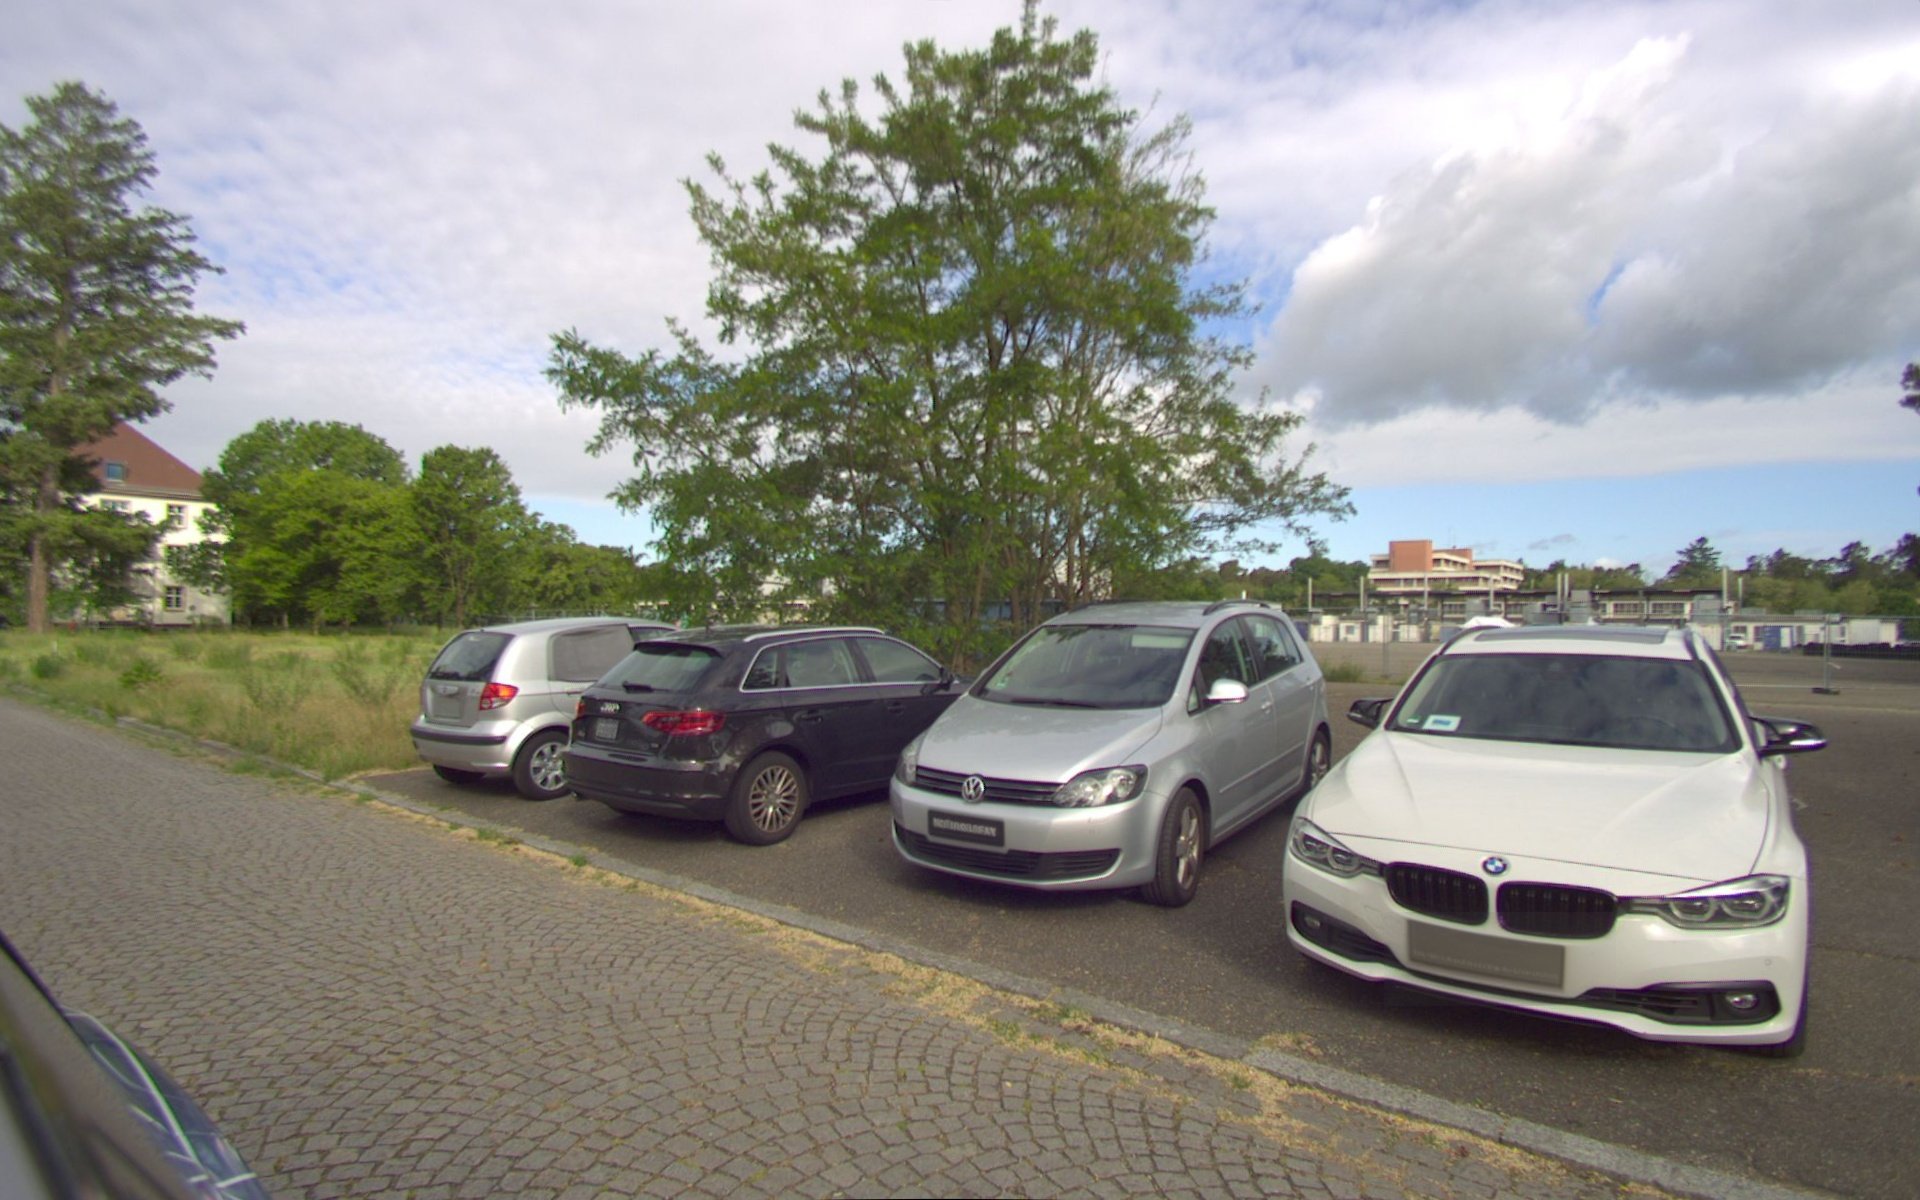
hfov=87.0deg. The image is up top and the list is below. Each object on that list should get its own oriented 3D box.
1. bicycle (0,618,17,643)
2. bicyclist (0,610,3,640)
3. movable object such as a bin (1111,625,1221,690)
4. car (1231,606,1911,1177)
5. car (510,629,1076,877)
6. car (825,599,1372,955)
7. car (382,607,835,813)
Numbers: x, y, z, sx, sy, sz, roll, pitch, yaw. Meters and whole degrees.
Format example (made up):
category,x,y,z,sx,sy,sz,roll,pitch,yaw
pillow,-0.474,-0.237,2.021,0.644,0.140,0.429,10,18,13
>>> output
category,x,y,z,sx,sy,sz,roll,pitch,yaw
bicycle,-60.346,1.880,62.793,1.273,1.516,2.637,-1,-3,45
bicyclist,-60.322,1.557,62.819,1.300,1.882,1.250,2,-3,-44
movable object such as a bin,4.238,1.142,20.653,1.169,1.221,2.506,-1,-2,39
car,3.251,0.809,5.222,1.910,1.450,4.761,-1,0,37
car,-1.021,0.985,8.344,1.882,1.433,4.576,-1,-2,37
car,1.279,0.810,6.912,1.844,1.602,4.433,-1,-1,36
car,-3.185,0.870,9.898,1.677,1.467,3.940,-1,1,35
